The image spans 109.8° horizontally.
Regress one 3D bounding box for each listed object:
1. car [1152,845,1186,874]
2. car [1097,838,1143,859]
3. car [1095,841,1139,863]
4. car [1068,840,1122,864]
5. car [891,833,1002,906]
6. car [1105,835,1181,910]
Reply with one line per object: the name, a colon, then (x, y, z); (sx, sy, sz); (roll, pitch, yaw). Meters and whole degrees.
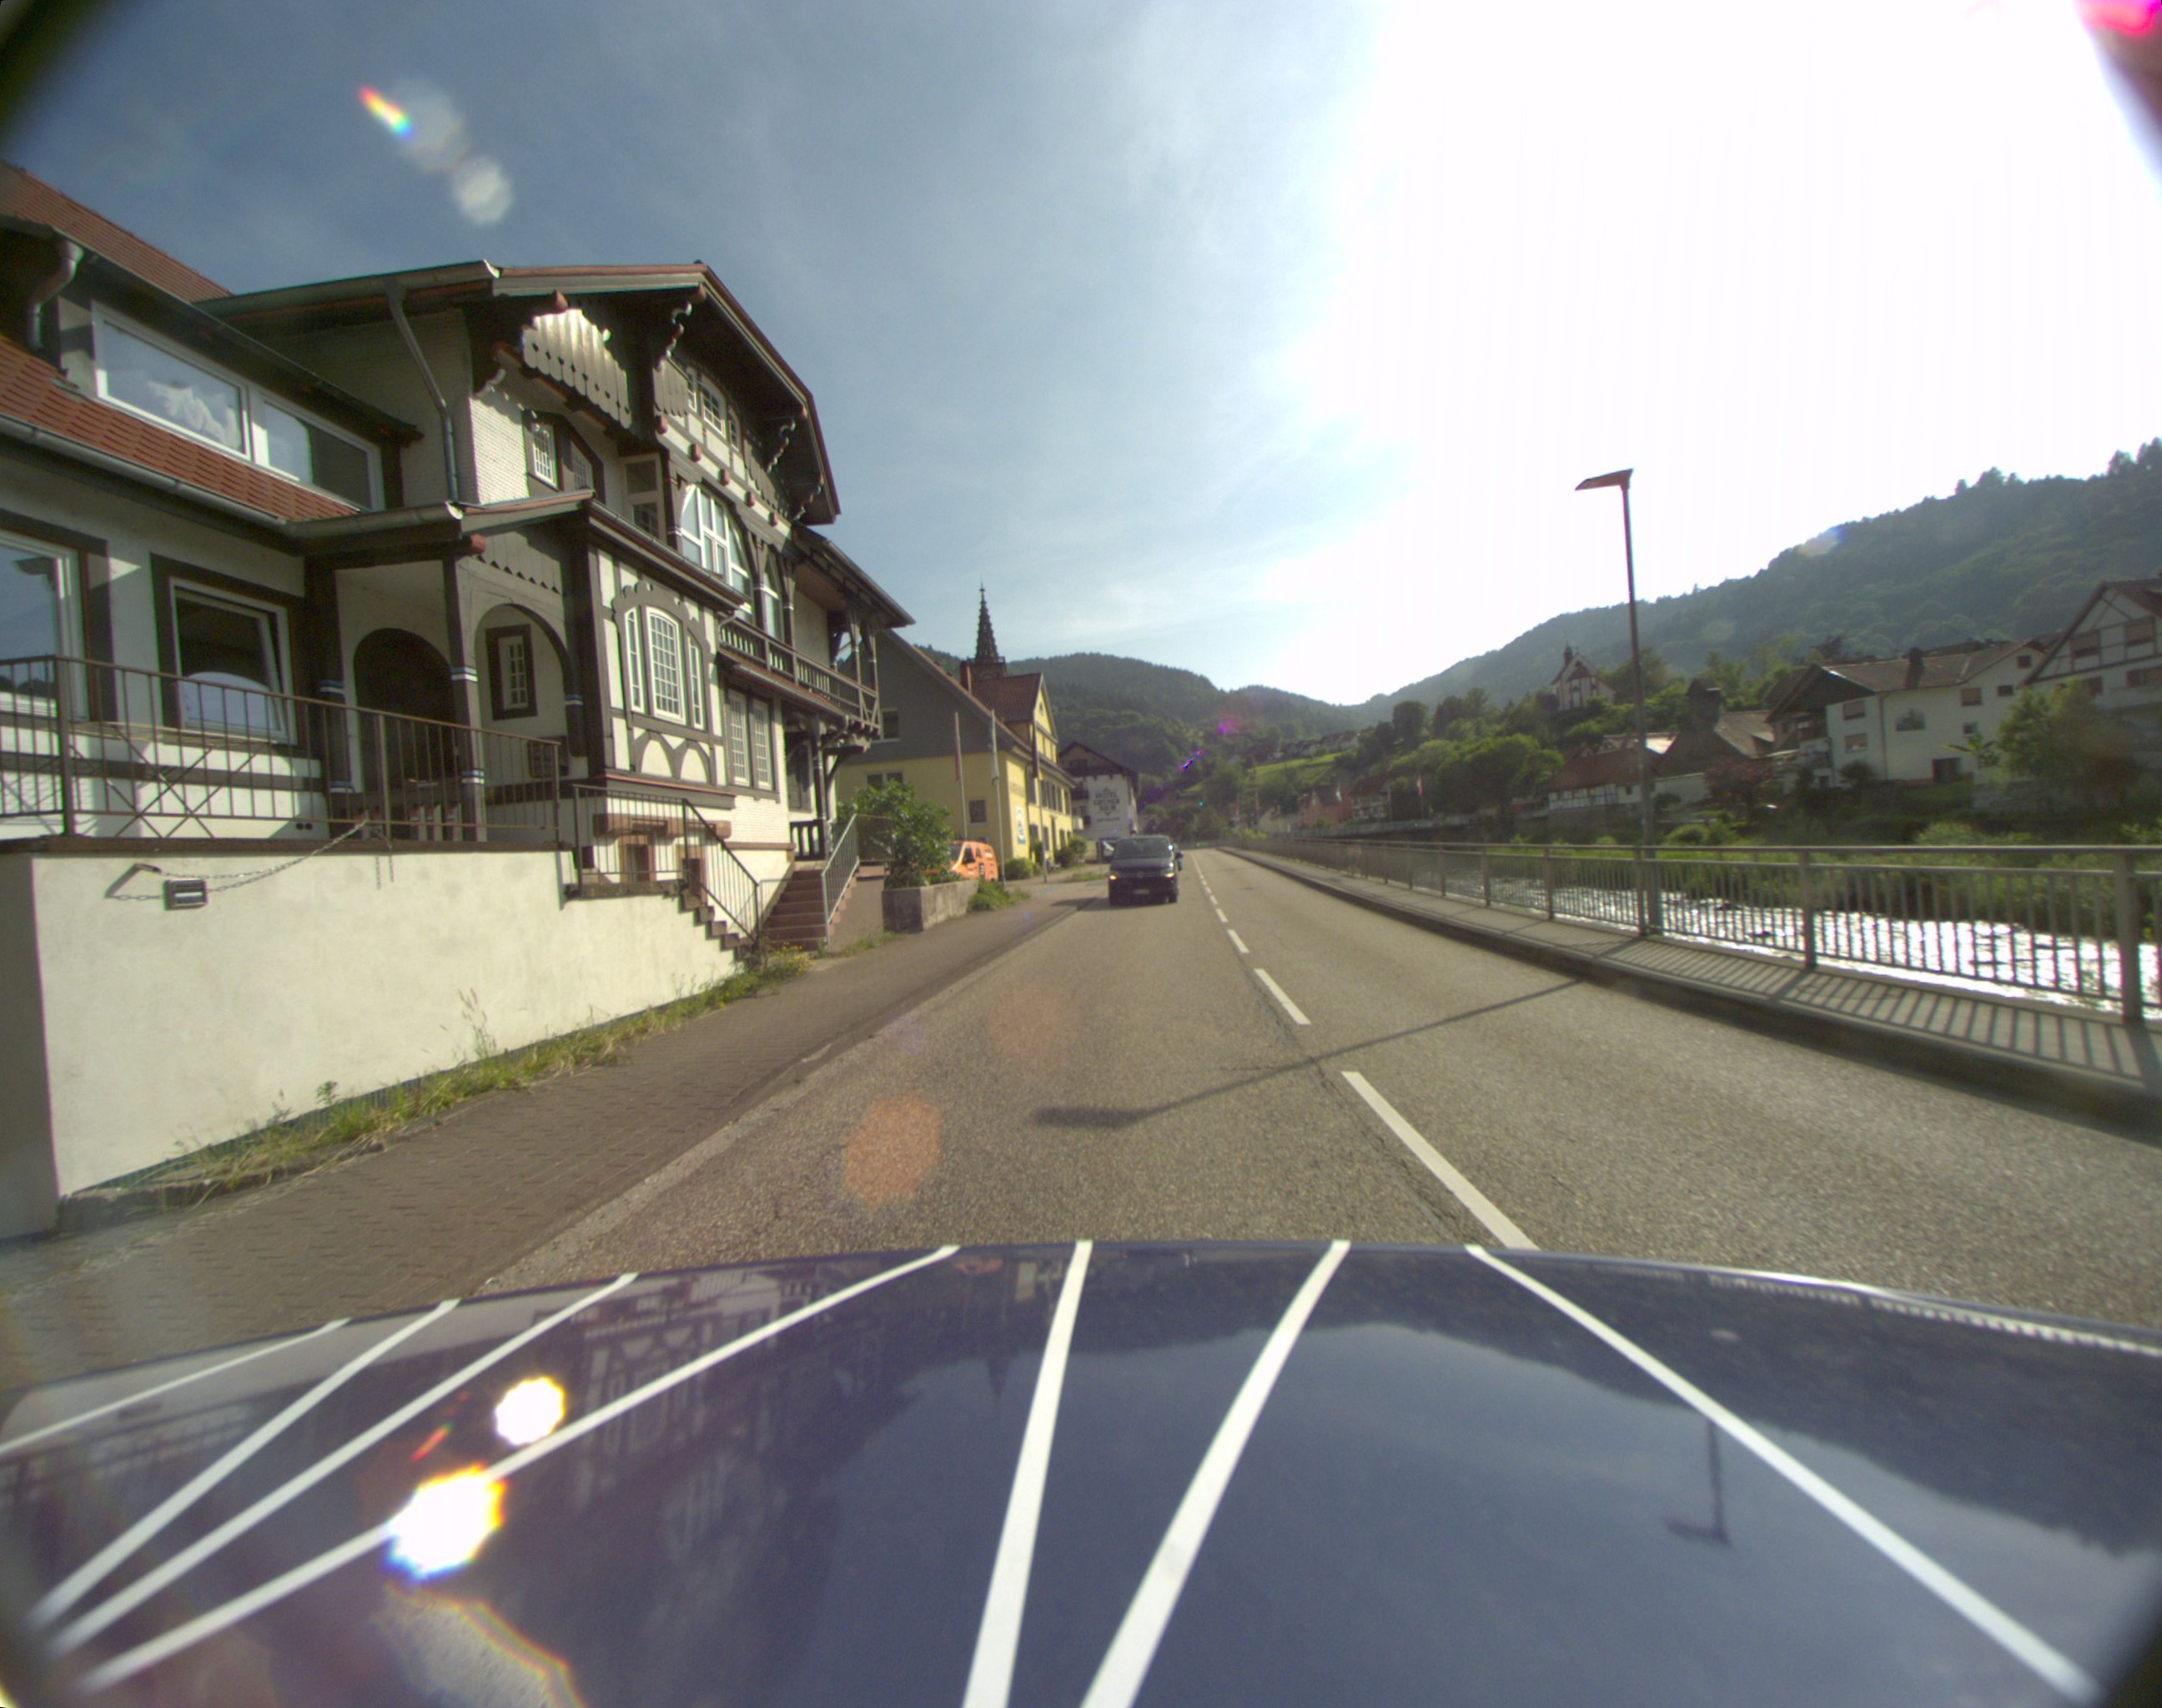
car: (5.123, 0.278, 43.851); (1.681, 1.513, 3.868); (-2, 1, 9)
car: (3.649, -0.547, 70.895); (3.993, 1.871, 1.686); (-1, 1, 11)
car: (3.232, -0.201, 68.320); (3.753, 1.882, 1.372); (0, 1, 10)
car: (1.226, -0.166, 65.845); (4.450, 1.947, 1.715); (1, 1, 10)
car: (-3.976, 0.429, 23.405); (1.912, 1.986, 4.838); (1, 0, 8)
car: (1.992, 0.464, 22.938); (1.886, 1.952, 4.868); (-2, 1, 9)
